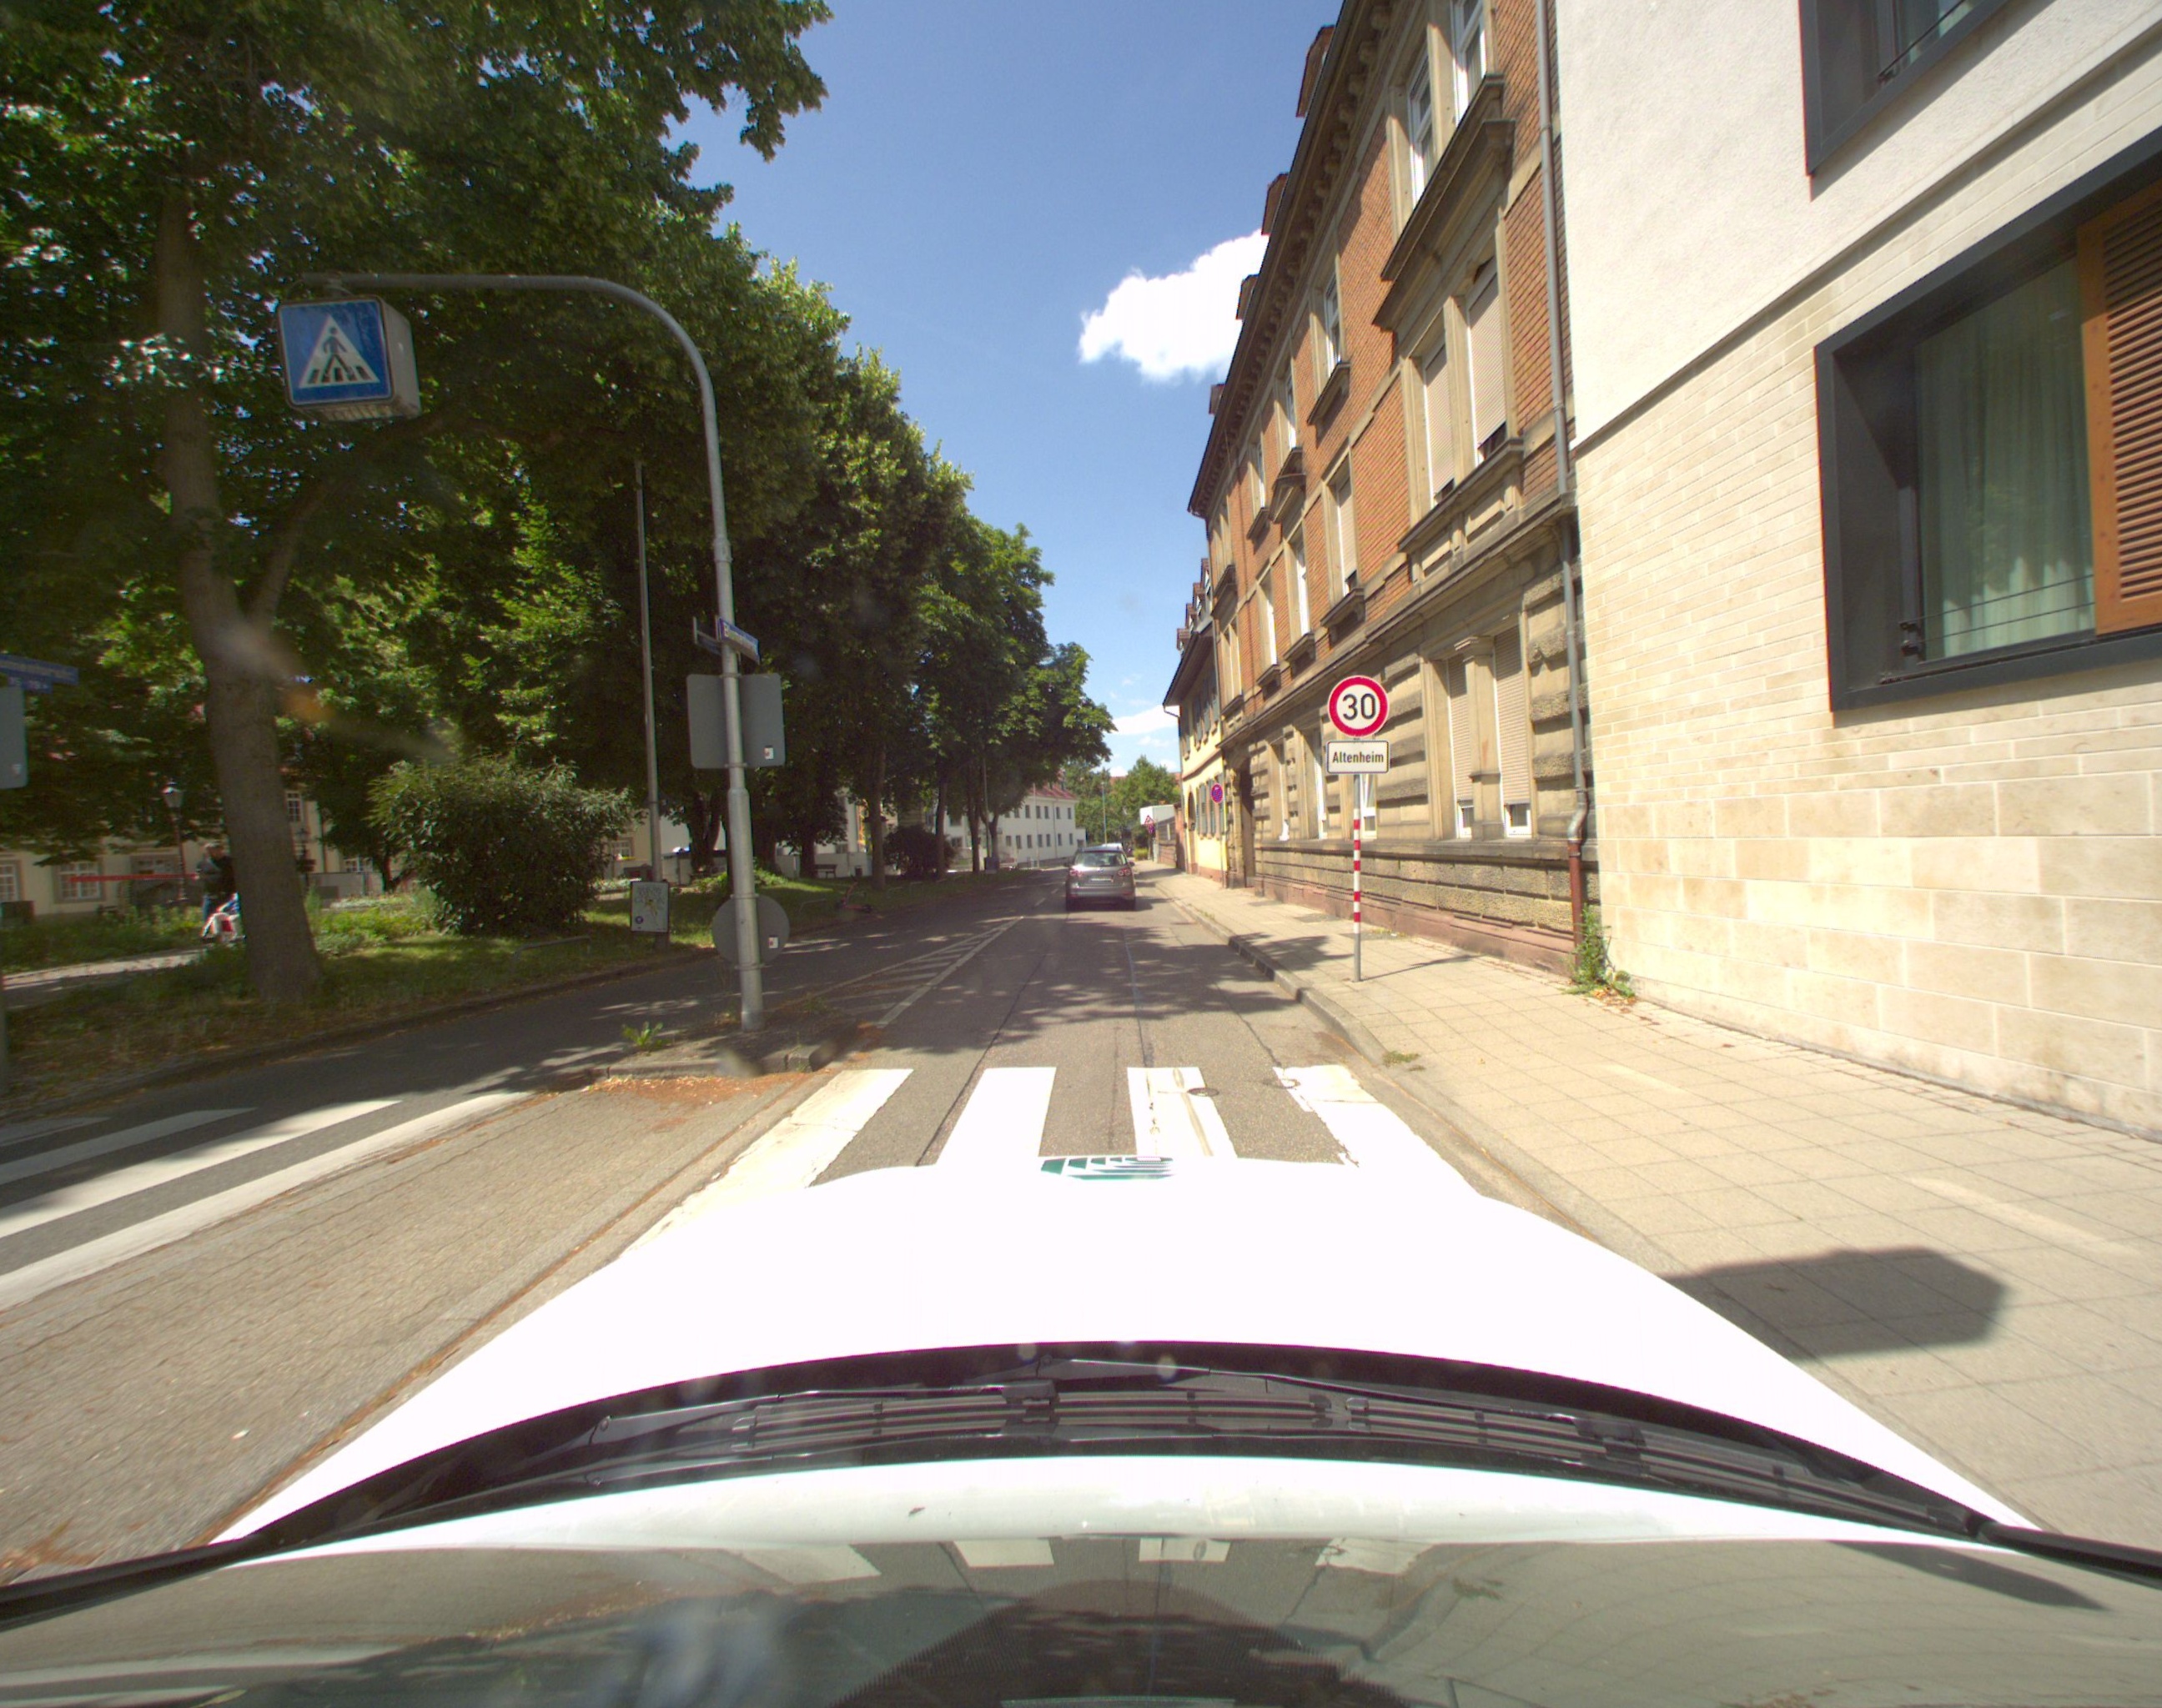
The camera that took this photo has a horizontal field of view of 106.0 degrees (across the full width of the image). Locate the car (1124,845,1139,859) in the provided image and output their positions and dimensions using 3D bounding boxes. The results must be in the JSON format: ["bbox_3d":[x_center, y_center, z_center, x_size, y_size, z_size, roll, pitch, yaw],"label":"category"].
[{"bbox_3d":[6.126,-0.240,99.484,1.641,1.574,3.641,-2,1,2],"label":"car"}]

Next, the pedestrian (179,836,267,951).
[{"bbox_3d":[-14.847,0.656,14.118,0.751,1.910,0.678,-4,2,-25],"label":"pedestrian"}]

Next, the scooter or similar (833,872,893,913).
[{"bbox_3d":[-6.290,1.101,23.568,1.268,0.991,1.451,5,0,-1],"label":"scooter or similar"}]

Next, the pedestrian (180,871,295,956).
[{"bbox_3d":[-14.074,0.958,13.632,0.910,1.251,1.139,-4,2,-25],"label":"pedestrian"}]

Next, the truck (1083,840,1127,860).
[{"bbox_3d":[2.798,-0.423,94.715,4.787,2.013,2.142,-3,0,-6],"label":"truck"}]

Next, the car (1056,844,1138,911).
[{"bbox_3d":[0.497,0.537,21.377,1.895,1.533,4.247,-1,1,3],"label":"car"}]
